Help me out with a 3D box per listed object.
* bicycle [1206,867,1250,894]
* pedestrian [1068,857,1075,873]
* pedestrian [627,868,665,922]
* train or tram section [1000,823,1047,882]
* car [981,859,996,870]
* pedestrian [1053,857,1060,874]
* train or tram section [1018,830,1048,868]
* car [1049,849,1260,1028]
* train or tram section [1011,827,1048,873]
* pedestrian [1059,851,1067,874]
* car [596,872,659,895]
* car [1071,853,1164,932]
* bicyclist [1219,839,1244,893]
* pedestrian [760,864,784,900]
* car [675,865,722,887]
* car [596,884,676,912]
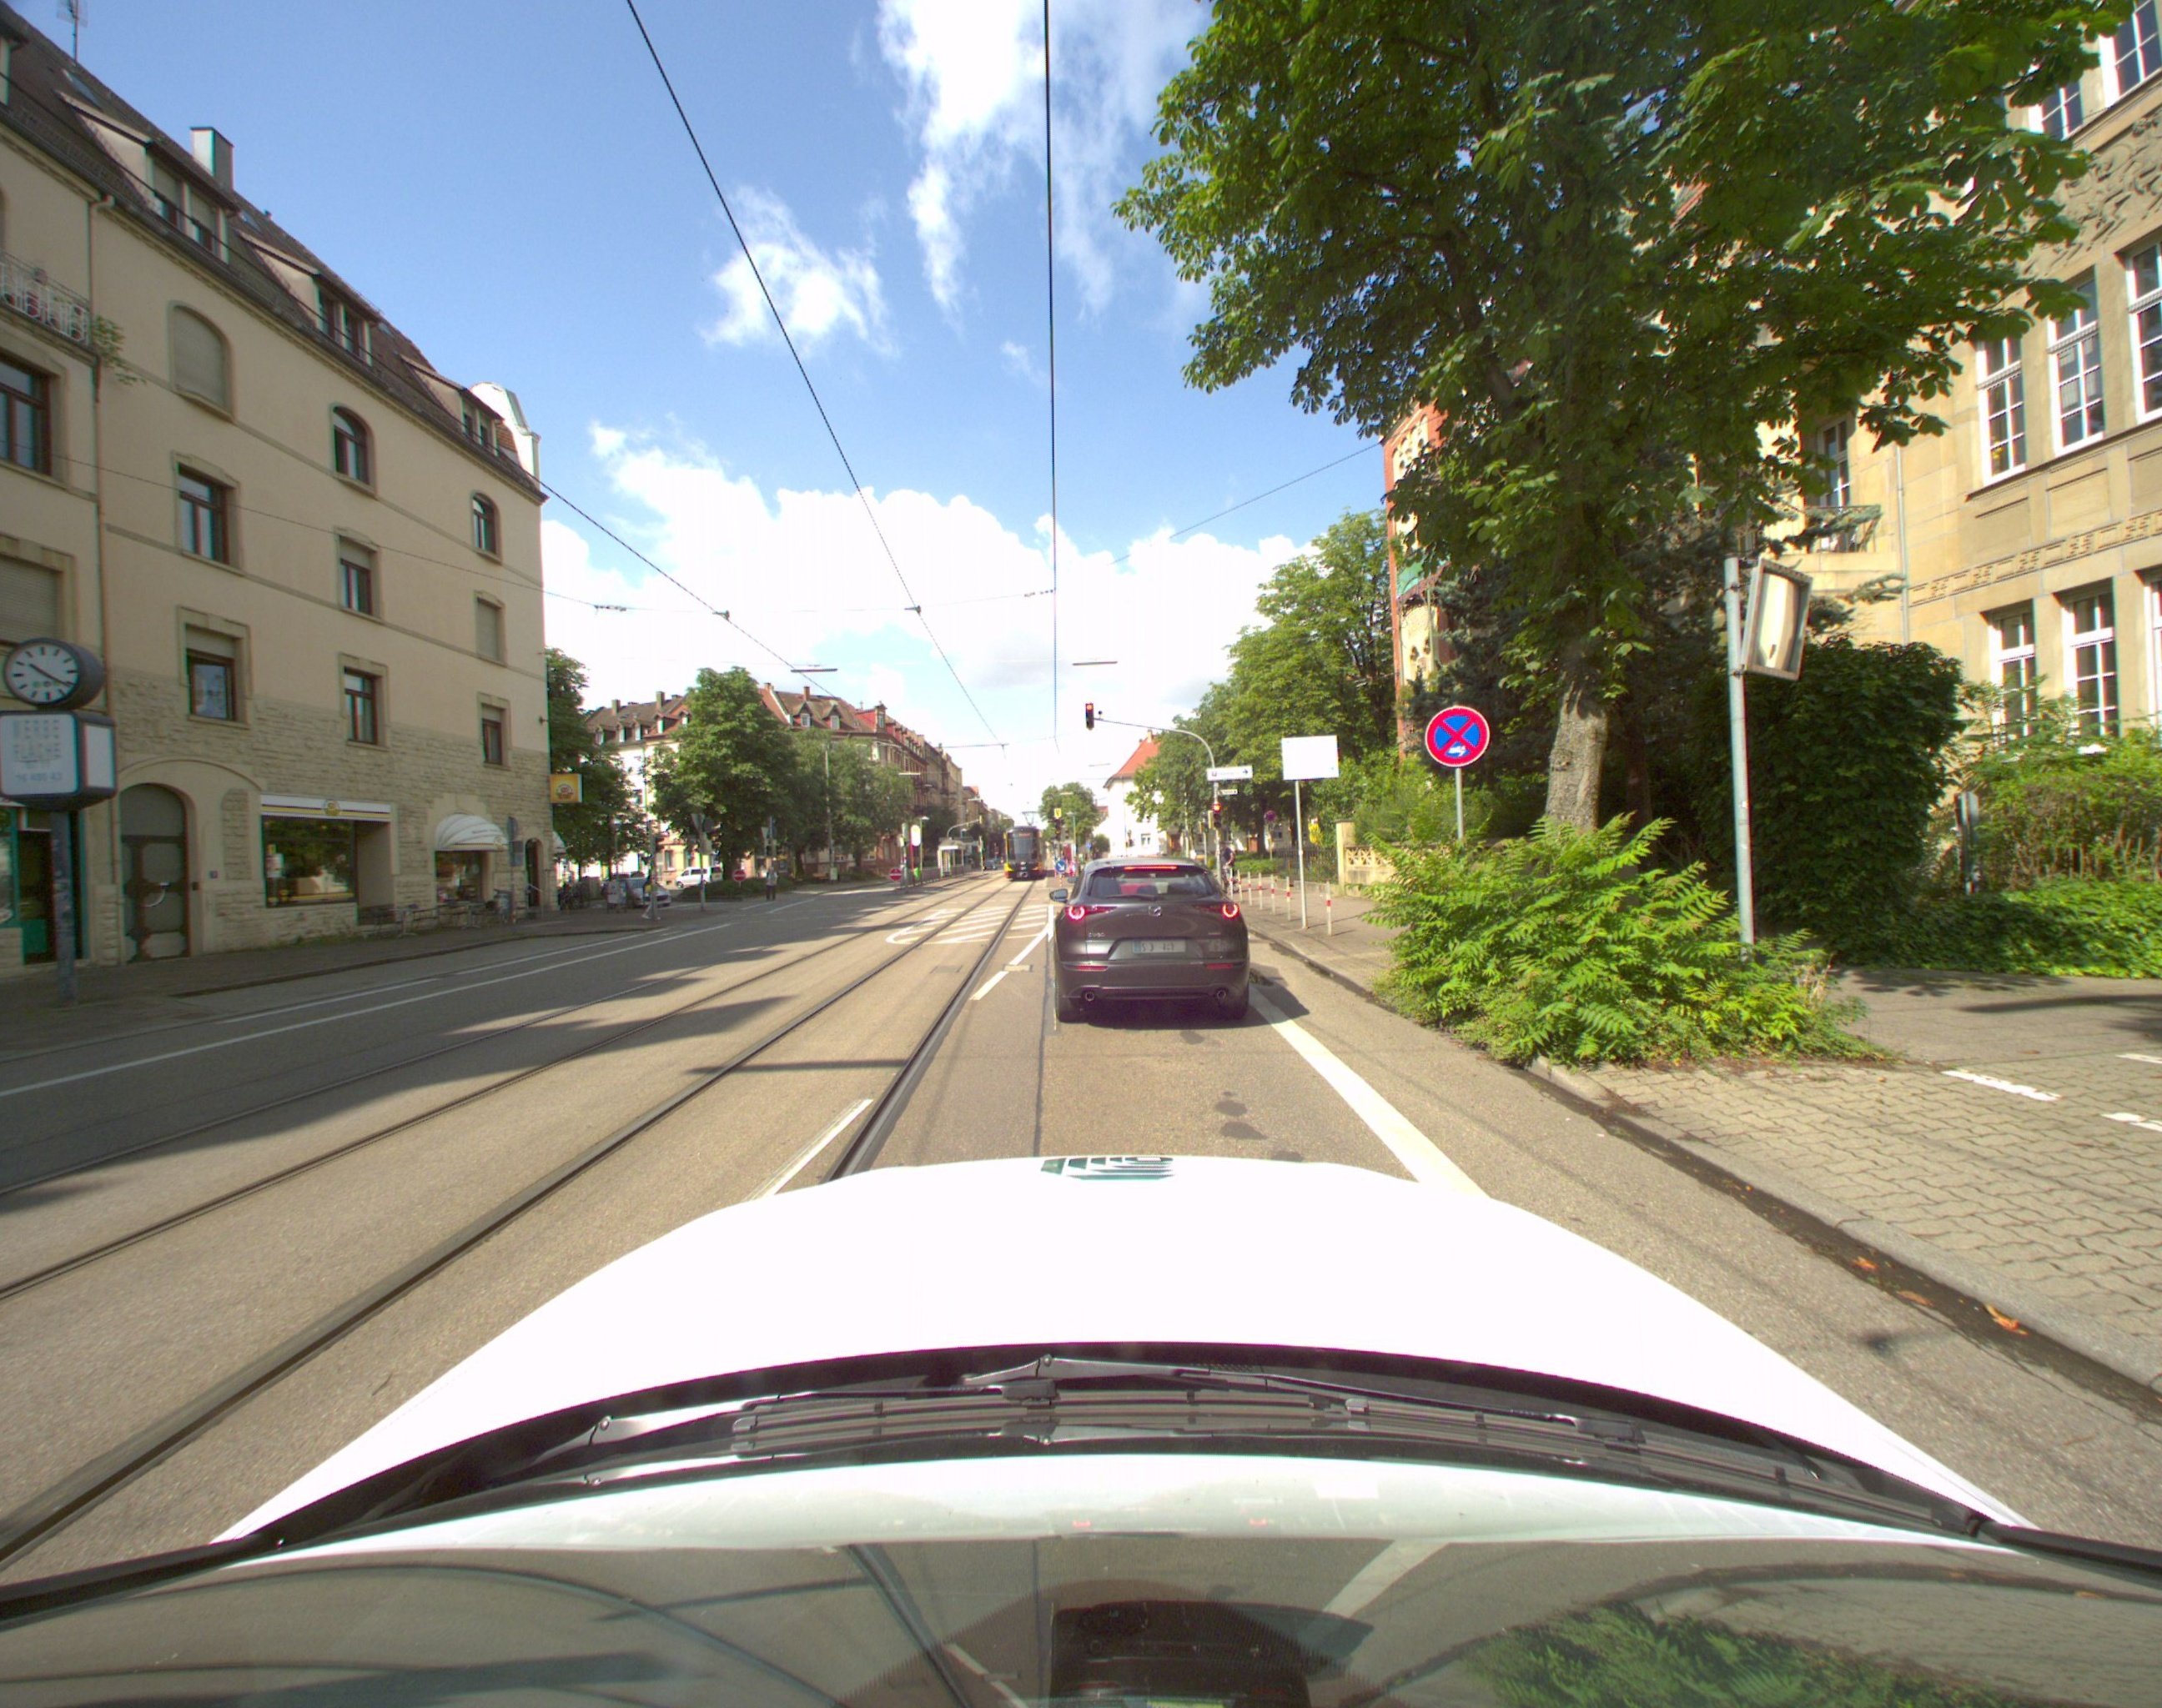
[{"bbox_3d":[5.130,0.915,28.295,1.708,0.824,0.488,-2,0,-40],"label":"bicycle"},{"bbox_3d":[-0.622,0.716,51.749,0.379,0.984,0.474,-3,0,-3],"label":"pedestrian"},{"bbox_3d":[-14.655,1.372,27.448,0.677,1.754,0.804,-3,0,15],"label":"pedestrian"},{"bbox_3d":[-3.816,-0.199,57.368,2.746,3.490,14.395,-3,1,-2],"label":"train or tram section"},{"bbox_3d":[-11.960,1.380,105.293,1.610,1.310,3.625,-3,0,-2],"label":"car"},{"bbox_3d":[-1.574,0.732,51.707,0.379,1.071,0.474,-3,0,-3],"label":"pedestrian"},{"bbox_3d":[-4.978,-0.599,86.081,2.746,3.490,14.395,-3,1,-2],"label":"train or tram section"},{"bbox_3d":[0.668,0.718,8.927,1.772,1.499,4.001,-1,0,1],"label":"car"},{"bbox_3d":[-4.392,-0.400,71.730,2.746,3.490,14.395,-3,1,-2],"label":"train or tram section"},{"bbox_3d":[-1.147,0.525,51.739,0.449,1.434,0.474,-3,0,-3],"label":"pedestrian"},{"bbox_3d":[-37.307,2.425,67.050,3.972,1.596,2.001,-3,0,1],"label":"car"},{"bbox_3d":[0.740,0.734,17.536,1.772,1.499,4.001,-1,0,1],"label":"car"},{"bbox_3d":[5.138,0.400,27.791,0.608,1.793,0.656,-2,0,-9],"label":"bicyclist"},{"bbox_3d":[-15.192,1.386,40.047,0.817,1.705,0.720,-3,0,7],"label":"pedestrian"},{"bbox_3d":[-37.152,2.139,79.104,3.950,1.903,2.012,-3,0,25],"label":"car"},{"bbox_3d":[-21.131,2.097,38.616,3.948,1.182,1.689,-3,0,35],"label":"car"}]
